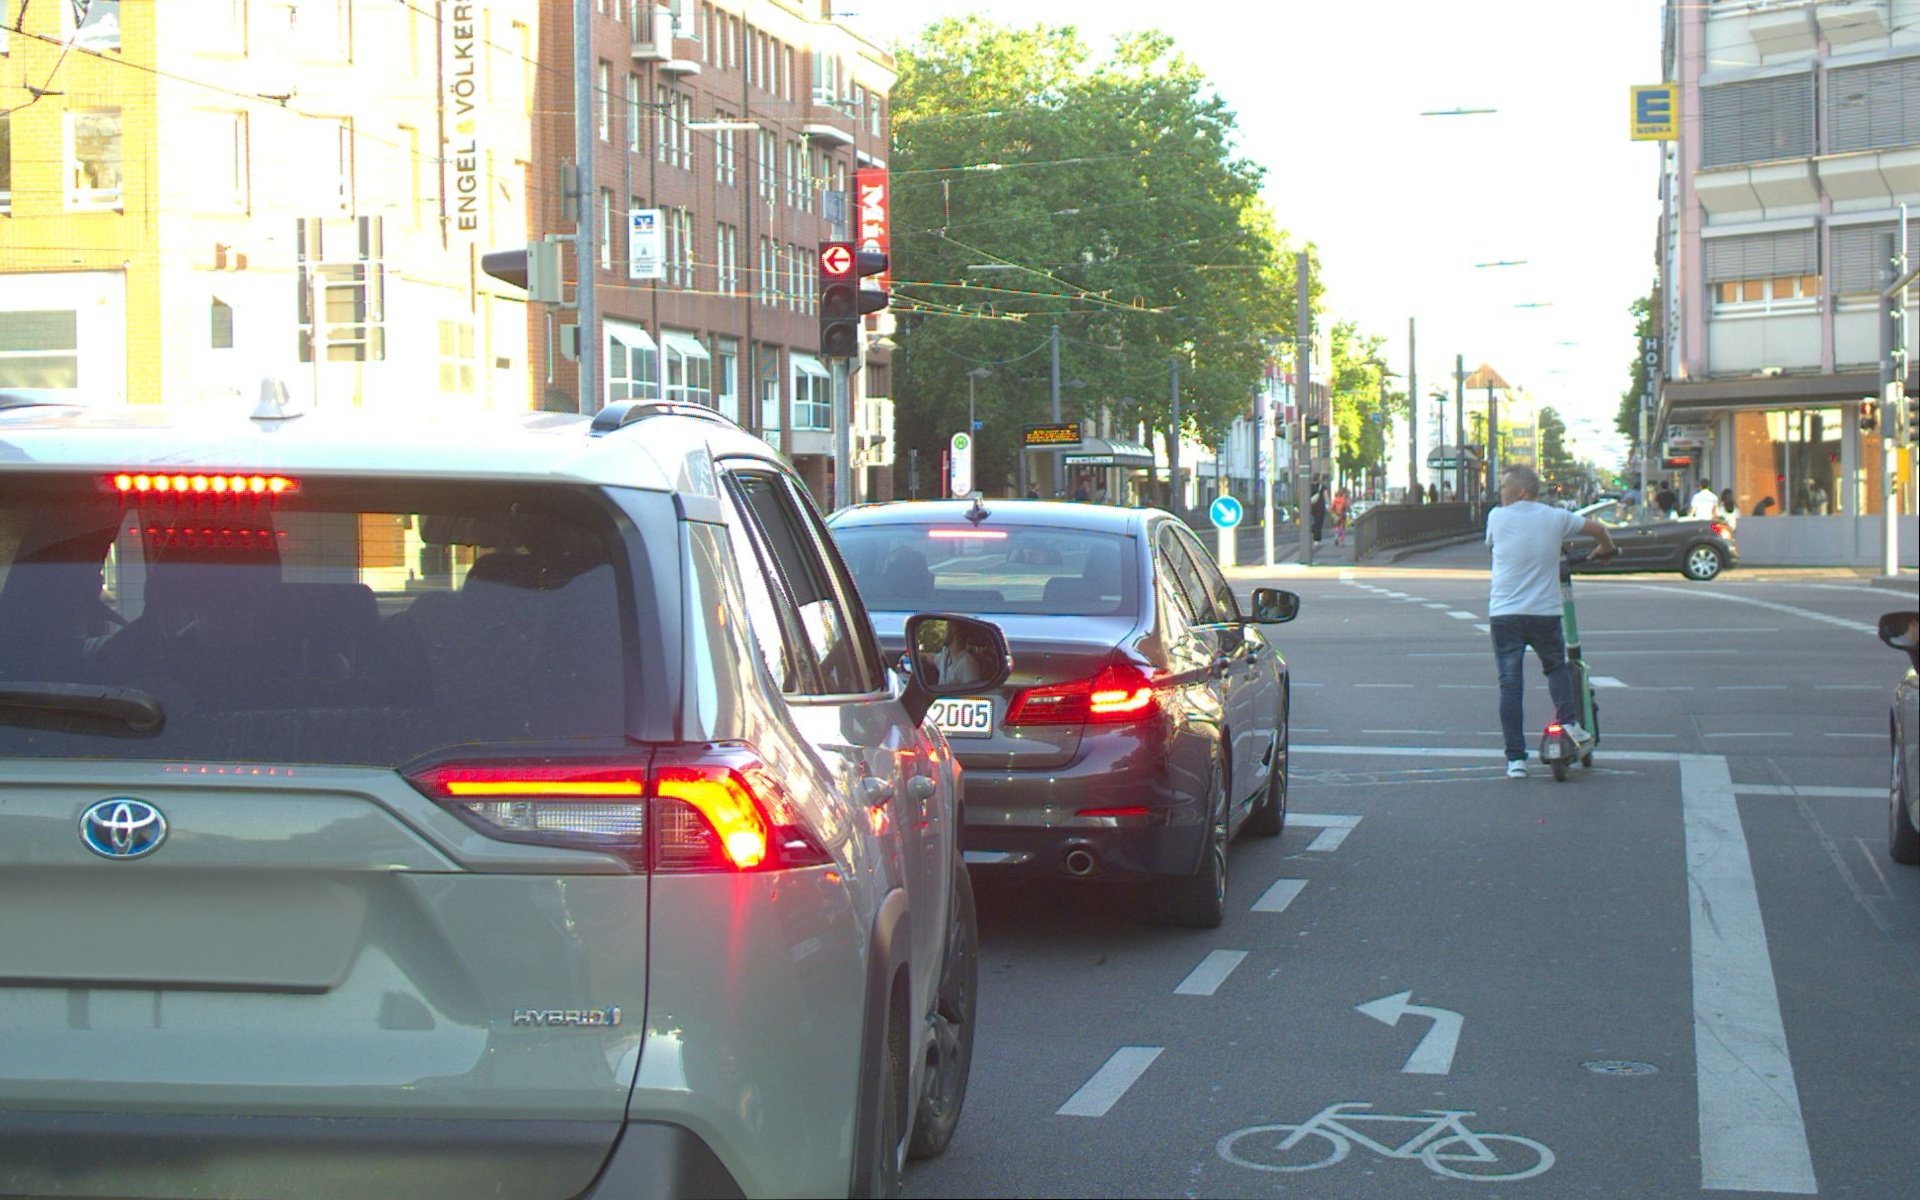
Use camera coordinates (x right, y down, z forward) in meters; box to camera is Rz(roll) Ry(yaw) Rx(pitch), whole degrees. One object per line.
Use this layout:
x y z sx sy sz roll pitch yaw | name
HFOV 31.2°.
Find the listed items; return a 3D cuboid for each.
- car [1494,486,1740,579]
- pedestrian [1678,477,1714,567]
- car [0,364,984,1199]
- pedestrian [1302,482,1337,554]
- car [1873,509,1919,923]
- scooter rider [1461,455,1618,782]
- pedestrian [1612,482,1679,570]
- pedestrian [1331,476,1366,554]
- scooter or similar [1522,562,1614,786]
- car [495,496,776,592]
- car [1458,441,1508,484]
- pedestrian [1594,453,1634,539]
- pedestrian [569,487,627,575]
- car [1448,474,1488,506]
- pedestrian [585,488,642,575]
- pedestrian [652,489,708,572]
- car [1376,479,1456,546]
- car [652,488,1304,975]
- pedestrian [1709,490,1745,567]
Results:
11.064 -1.161 58.124 3.988 1.471 1.999 1 2 9 | car
14.561 -1.547 68.000 0.493 1.768 0.475 -2 2 -26 | pedestrian
-0.949 0.468 6.151 1.835 1.630 4.091 1 2 2 | car
8.485 -1.940 81.199 0.701 1.658 0.807 1 2 13 | pedestrian
4.364 0.412 12.474 1.765 1.435 3.998 1 2 11 | car
3.001 0.081 17.793 0.662 1.641 0.660 2 2 20 | scooter rider
13.618 -1.471 68.329 0.932 1.720 0.852 0 2 -30 | pedestrian
9.129 -1.993 80.725 0.701 1.816 0.807 1 2 13 | pedestrian
3.140 0.360 17.713 0.280 1.087 1.256 2 2 18 | scooter or similar
-5.660 -1.004 60.271 4.553 1.615 1.997 1 2 8 | car
24.061 -6.326 158.193 1.994 1.894 3.998 1 2 12 | car
16.926 -2.693 88.933 0.932 2.189 0.852 1 2 9 | pedestrian
-8.351 -1.595 79.316 1.094 2.006 0.908 1 2 9 | pedestrian
29.879 -6.474 202.077 1.995 1.853 3.998 1 2 13 | car
-8.125 -1.615 80.593 1.094 2.006 0.908 1 2 9 | pedestrian
-6.836 -1.703 84.085 1.094 2.006 1.163 1 2 9 | pedestrian
12.314 -2.371 92.687 1.812 1.740 3.713 1 2 12 | car
0.258 0.337 13.076 1.745 1.455 4.409 1 3 10 | car
15.194 -1.418 68.116 0.493 1.498 0.475 -2 2 -26 | pedestrian
